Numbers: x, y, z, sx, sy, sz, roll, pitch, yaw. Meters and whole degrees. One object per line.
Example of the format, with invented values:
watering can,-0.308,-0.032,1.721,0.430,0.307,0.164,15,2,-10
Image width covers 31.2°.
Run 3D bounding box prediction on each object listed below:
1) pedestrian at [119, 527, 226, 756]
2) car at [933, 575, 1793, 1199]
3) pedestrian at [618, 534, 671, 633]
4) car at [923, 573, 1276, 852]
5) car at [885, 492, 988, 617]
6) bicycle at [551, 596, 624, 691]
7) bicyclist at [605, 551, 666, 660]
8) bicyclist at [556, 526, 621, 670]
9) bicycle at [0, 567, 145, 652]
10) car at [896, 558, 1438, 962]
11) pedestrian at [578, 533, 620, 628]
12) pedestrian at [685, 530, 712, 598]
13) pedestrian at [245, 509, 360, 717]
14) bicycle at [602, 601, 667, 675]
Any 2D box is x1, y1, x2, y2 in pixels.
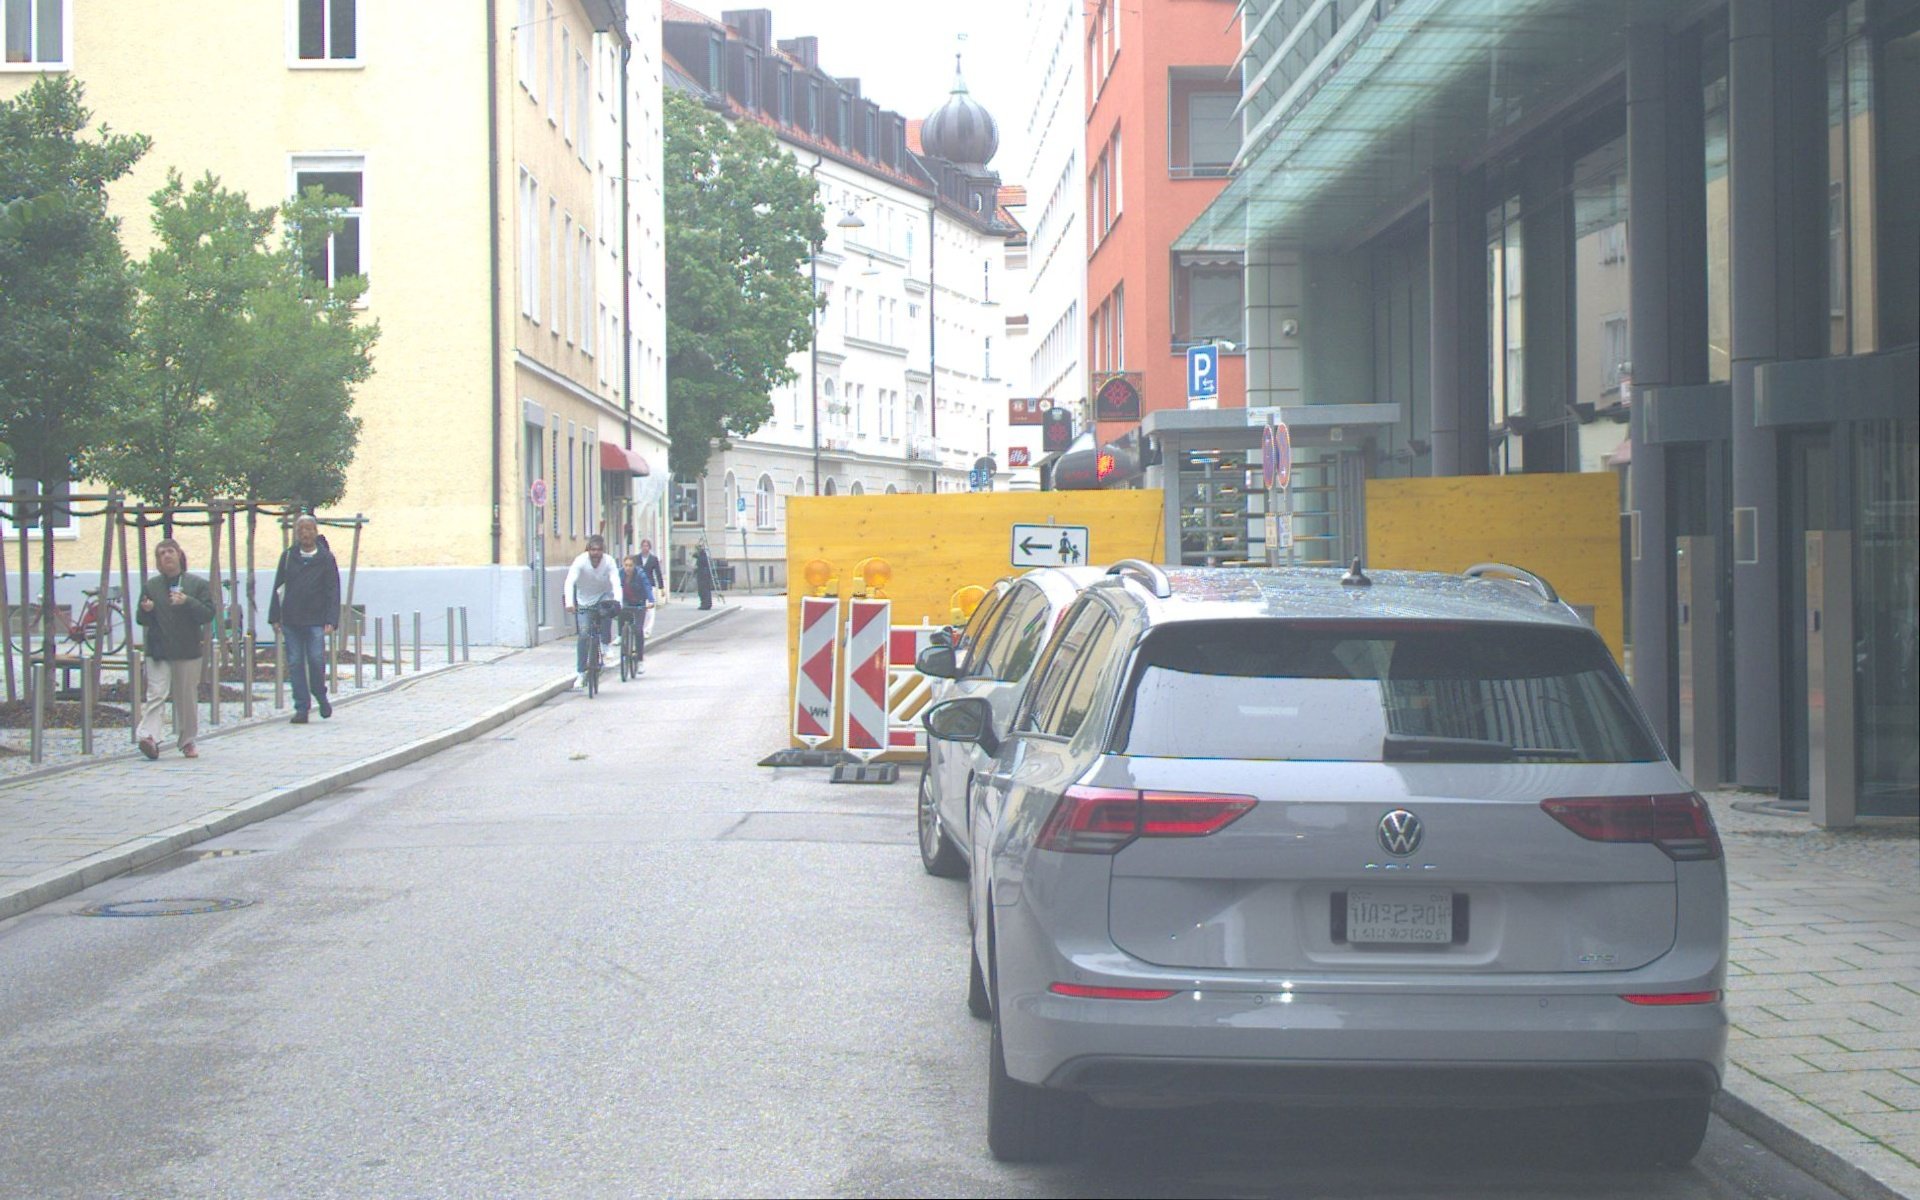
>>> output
pedestrian,-5.827,0.298,25.457,0.647,1.671,0.724,0,0,-2
car,0.843,0.659,9.460,1.708,1.427,4.330,0,1,-2
pedestrian,-5.422,-0.282,59.093,0.839,1.695,0.803,0,0,-2
car,0.694,0.561,19.914,1.708,1.409,4.510,1,0,-2
car,-0.521,-0.956,72.018,1.993,2.528,4.975,0,1,-2
bicycle,-4.288,0.488,39.678,0.661,1.035,2.005,-1,1,-2
bicyclist,-4.158,0.066,44.047,0.707,1.366,0.813,-1,1,-2
bicyclist,-4.290,-0.028,39.747,0.659,1.637,0.895,-1,1,-2
bicycle,-12.625,0.129,48.691,2.044,1.193,0.570,0,1,6
car,0.728,0.575,14.753,1.707,1.462,4.238,1,0,-5
pedestrian,-6.271,-0.336,59.720,0.670,1.642,0.761,0,0,-2
pedestrian,-6.459,-0.901,85.062,0.634,1.669,0.517,0,1,-2
pedestrian,-6.030,0.114,31.569,0.867,1.875,1.135,0,0,-2
bicycle,-4.159,0.477,44.016,0.707,0.902,1.809,-1,1,-2
